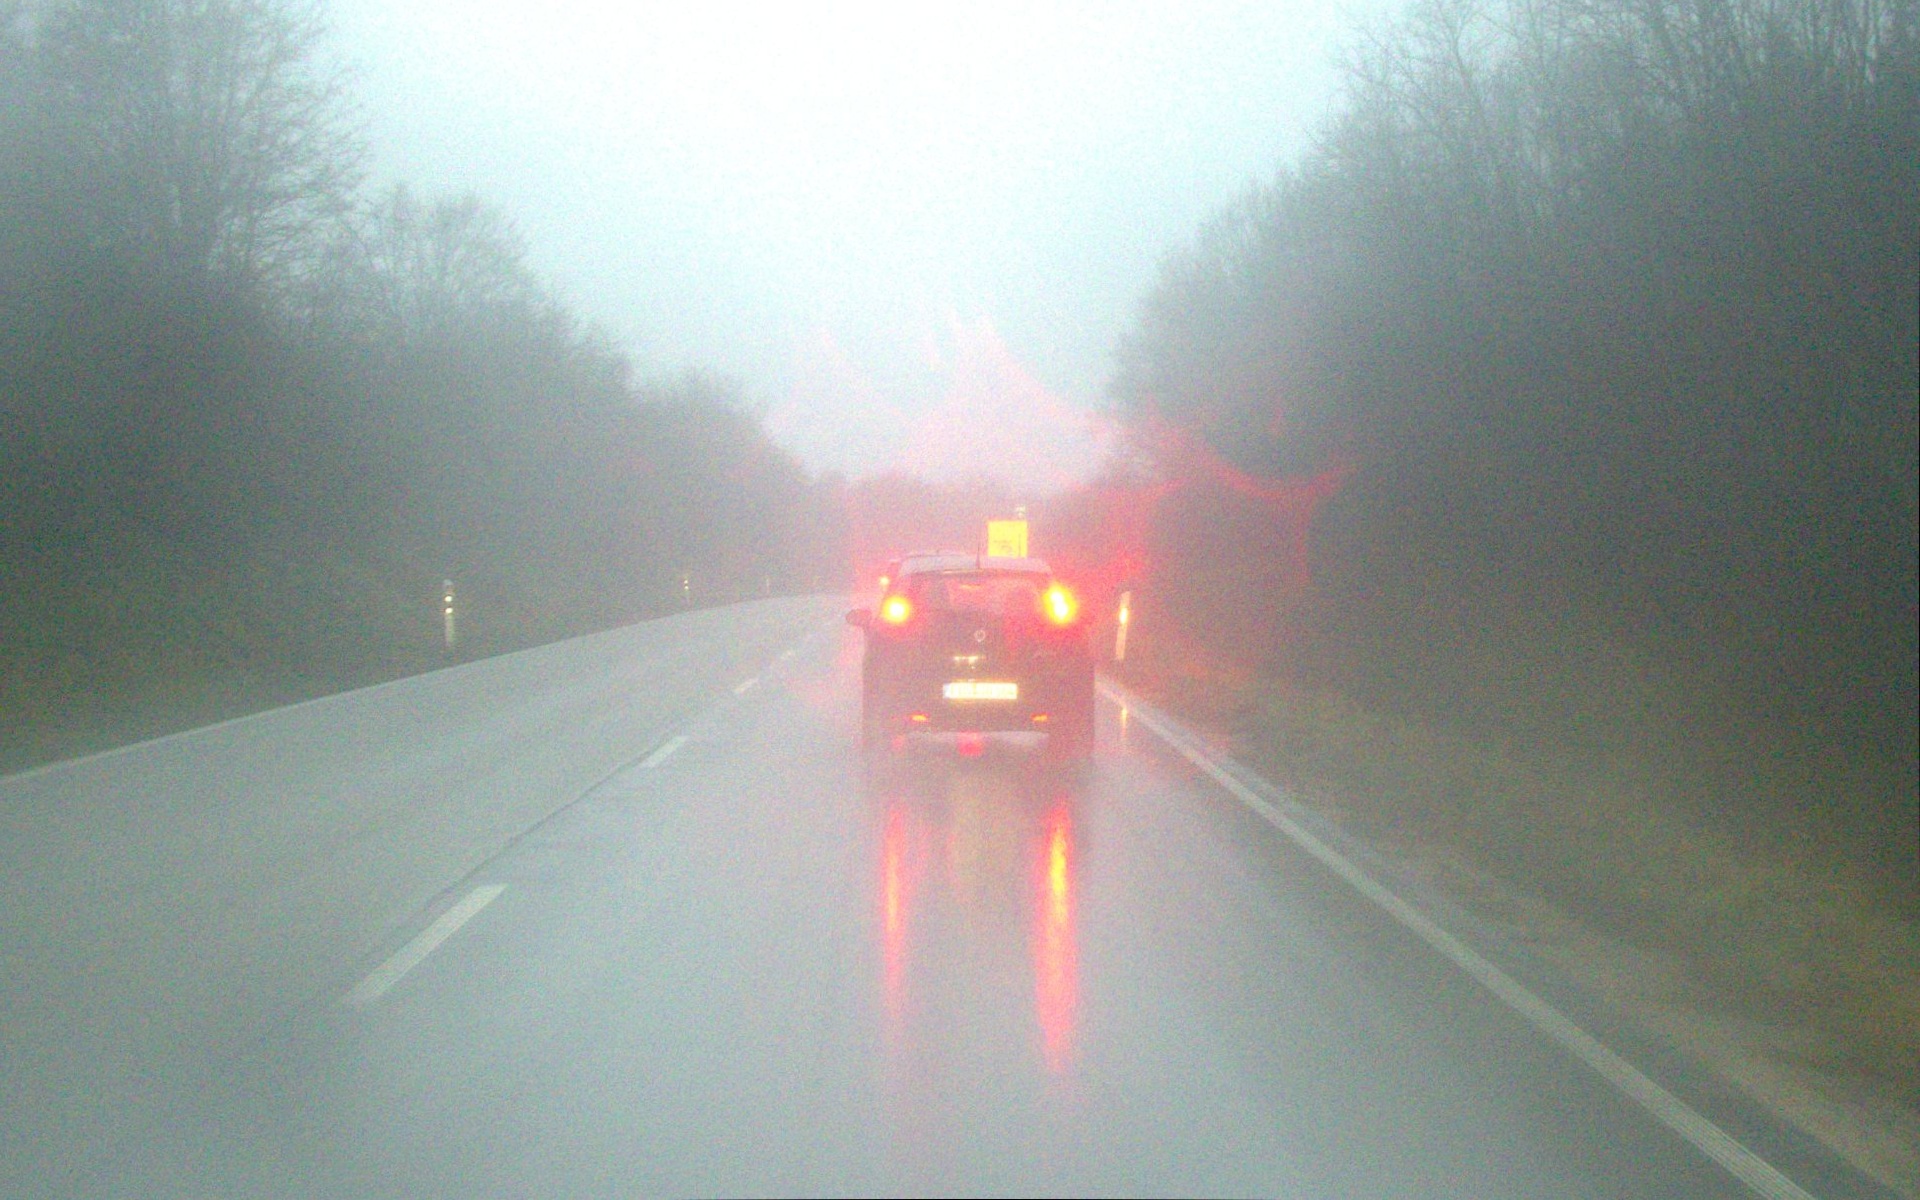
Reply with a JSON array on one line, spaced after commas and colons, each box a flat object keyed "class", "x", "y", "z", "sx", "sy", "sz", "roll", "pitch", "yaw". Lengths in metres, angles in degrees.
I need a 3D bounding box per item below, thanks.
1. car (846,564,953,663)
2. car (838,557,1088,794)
[{"class": "car", "x": -1.021, "y": 0.213, "z": 59.884, "sx": 1.728, "sy": 1.638, "sz": 4.000, "roll": 1, "pitch": 0, "yaw": 1}, {"class": "car", "x": 0.042, "y": 0.508, "z": 26.022, "sx": 1.728, "sy": 1.638, "sz": 4.000, "roll": 1, "pitch": 0, "yaw": 1}]
